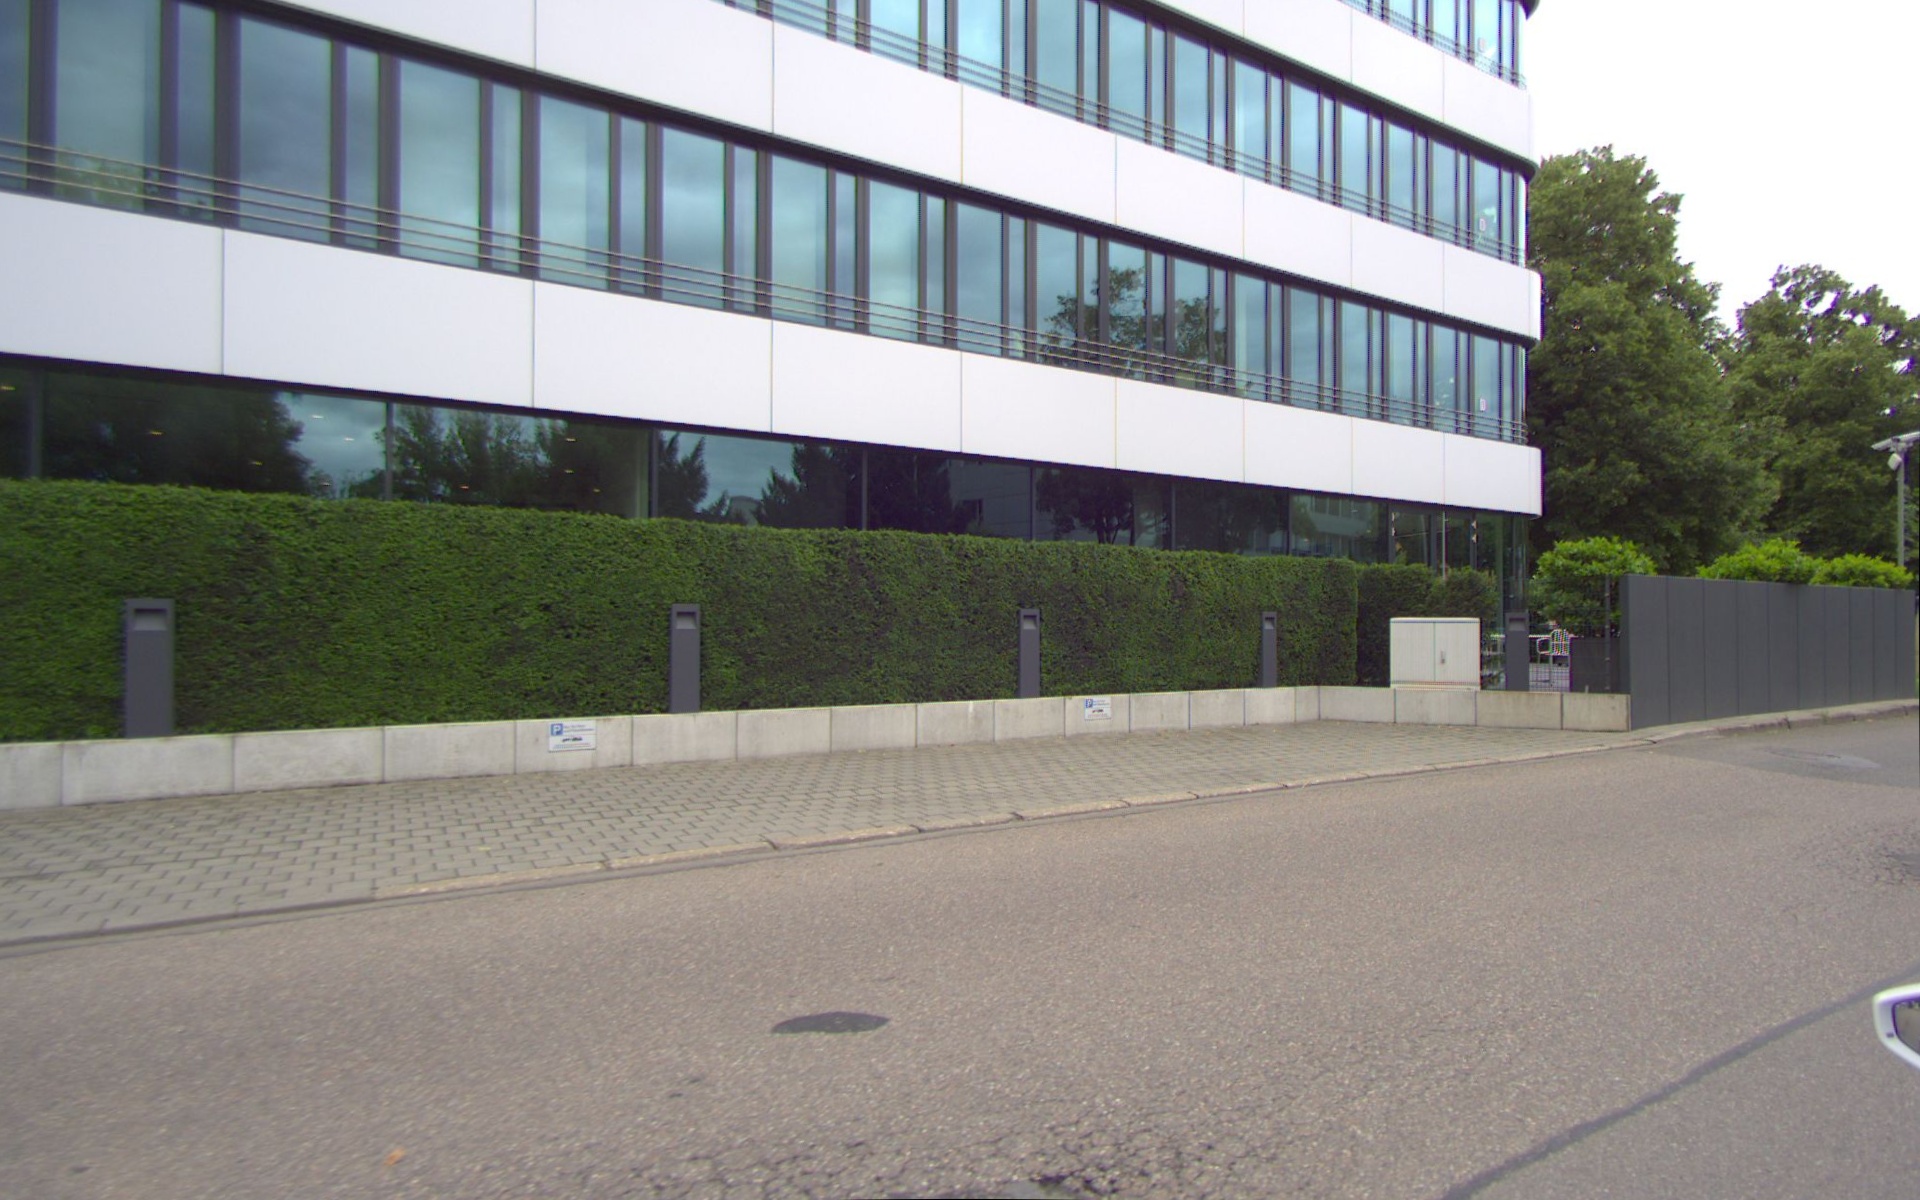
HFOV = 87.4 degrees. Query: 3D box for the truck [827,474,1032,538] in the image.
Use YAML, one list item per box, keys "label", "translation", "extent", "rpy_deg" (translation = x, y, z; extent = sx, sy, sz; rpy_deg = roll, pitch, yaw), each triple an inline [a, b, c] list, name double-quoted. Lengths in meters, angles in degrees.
- label: "truck"
  translation: [-1.481, -4.691, 51.260]
  extent: [10.102, 2.555, 2.967]
  rpy_deg: [0, -1, -23]
